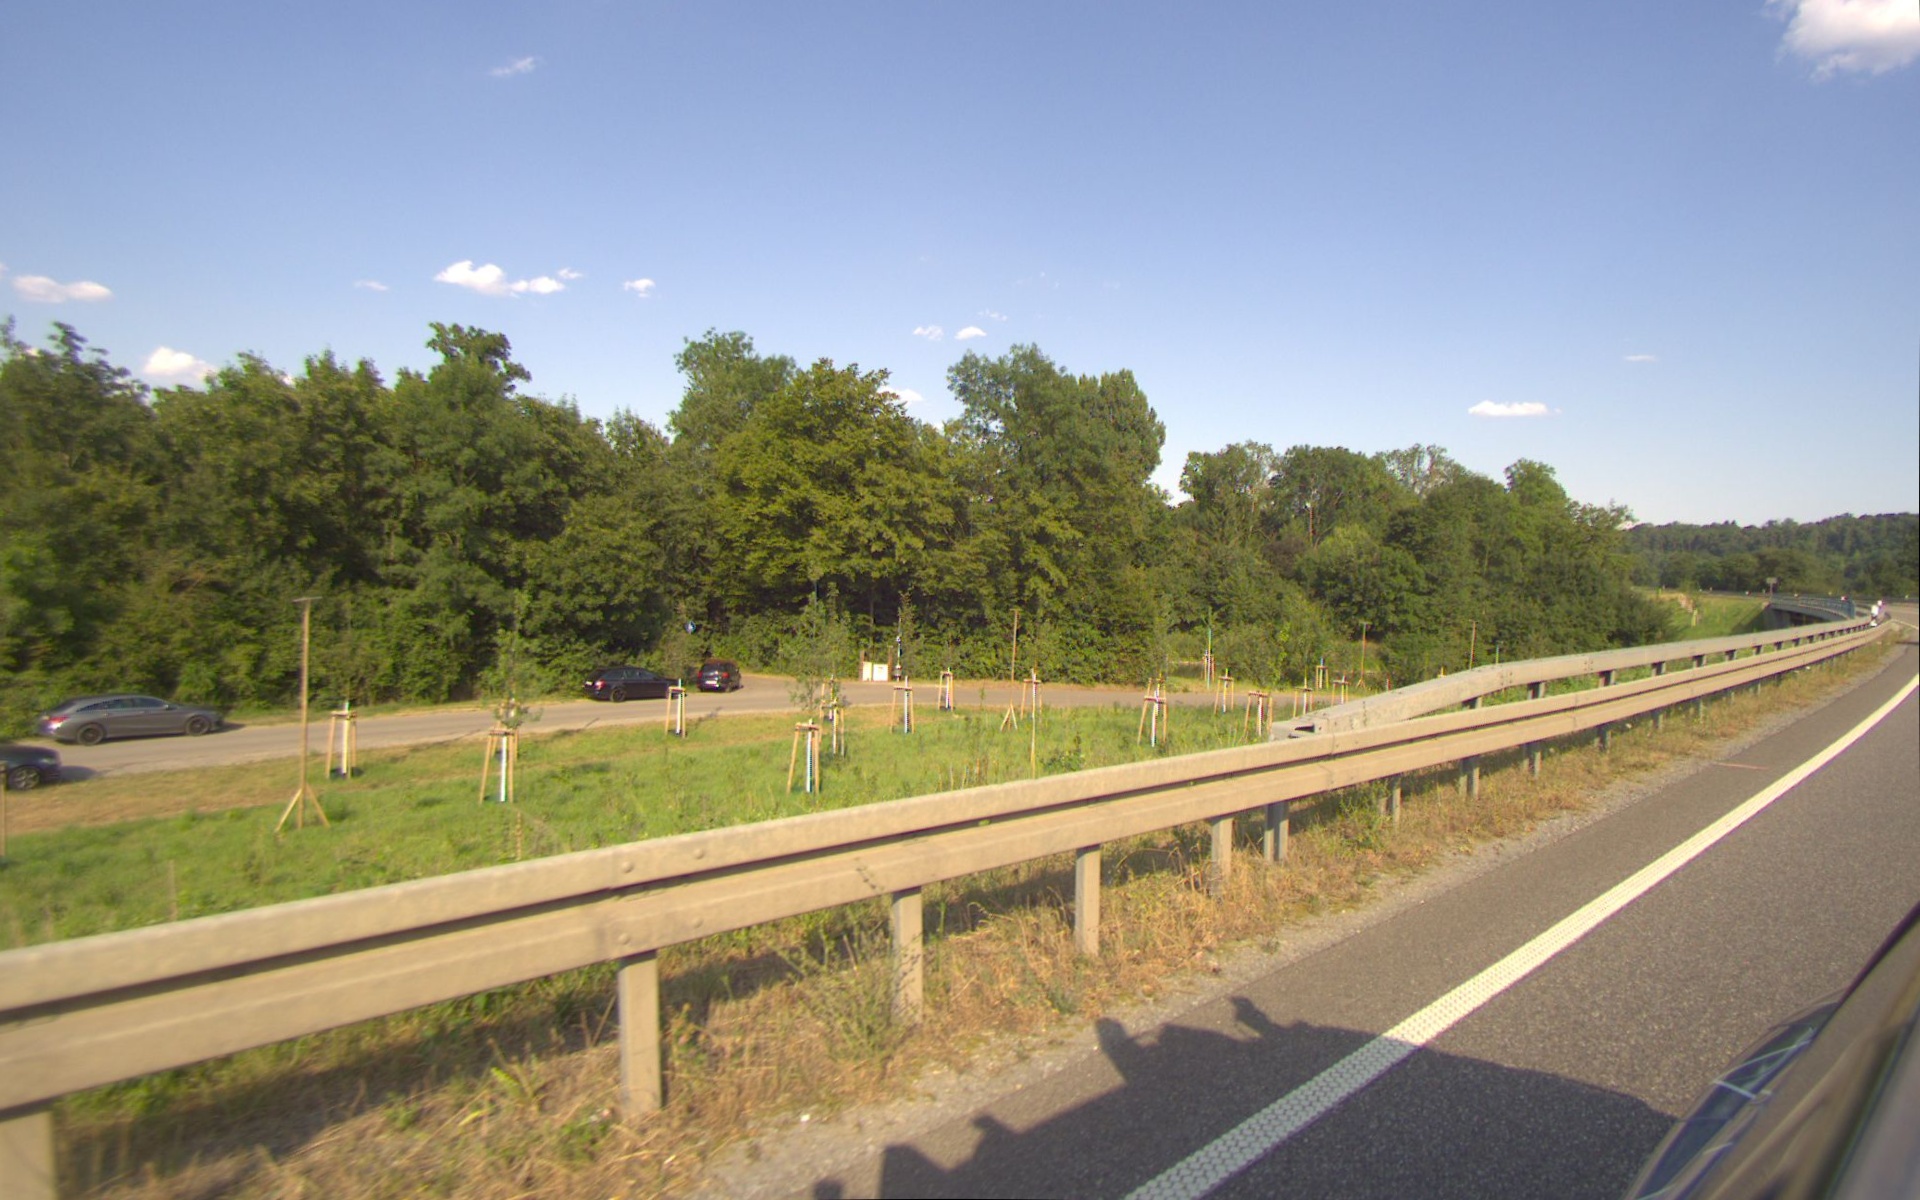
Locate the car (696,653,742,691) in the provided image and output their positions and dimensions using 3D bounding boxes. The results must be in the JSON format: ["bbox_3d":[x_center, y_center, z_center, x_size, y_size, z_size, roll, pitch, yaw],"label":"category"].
[{"bbox_3d":[-11.879,3.515,50.085,1.627,1.515,3.688,0,2,-4],"label":"car"}]

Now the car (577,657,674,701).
[{"bbox_3d":[-14.848,3.477,45.030,1.655,1.515,3.768,2,2,45],"label":"car"}]

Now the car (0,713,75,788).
[{"bbox_3d":[-24.451,3.820,24.617,1.650,1.515,4.170,2,2,35],"label":"car"}]

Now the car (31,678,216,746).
[{"bbox_3d":[-25.855,3.404,31.407,1.650,1.515,4.170,2,2,35],"label":"car"}]
